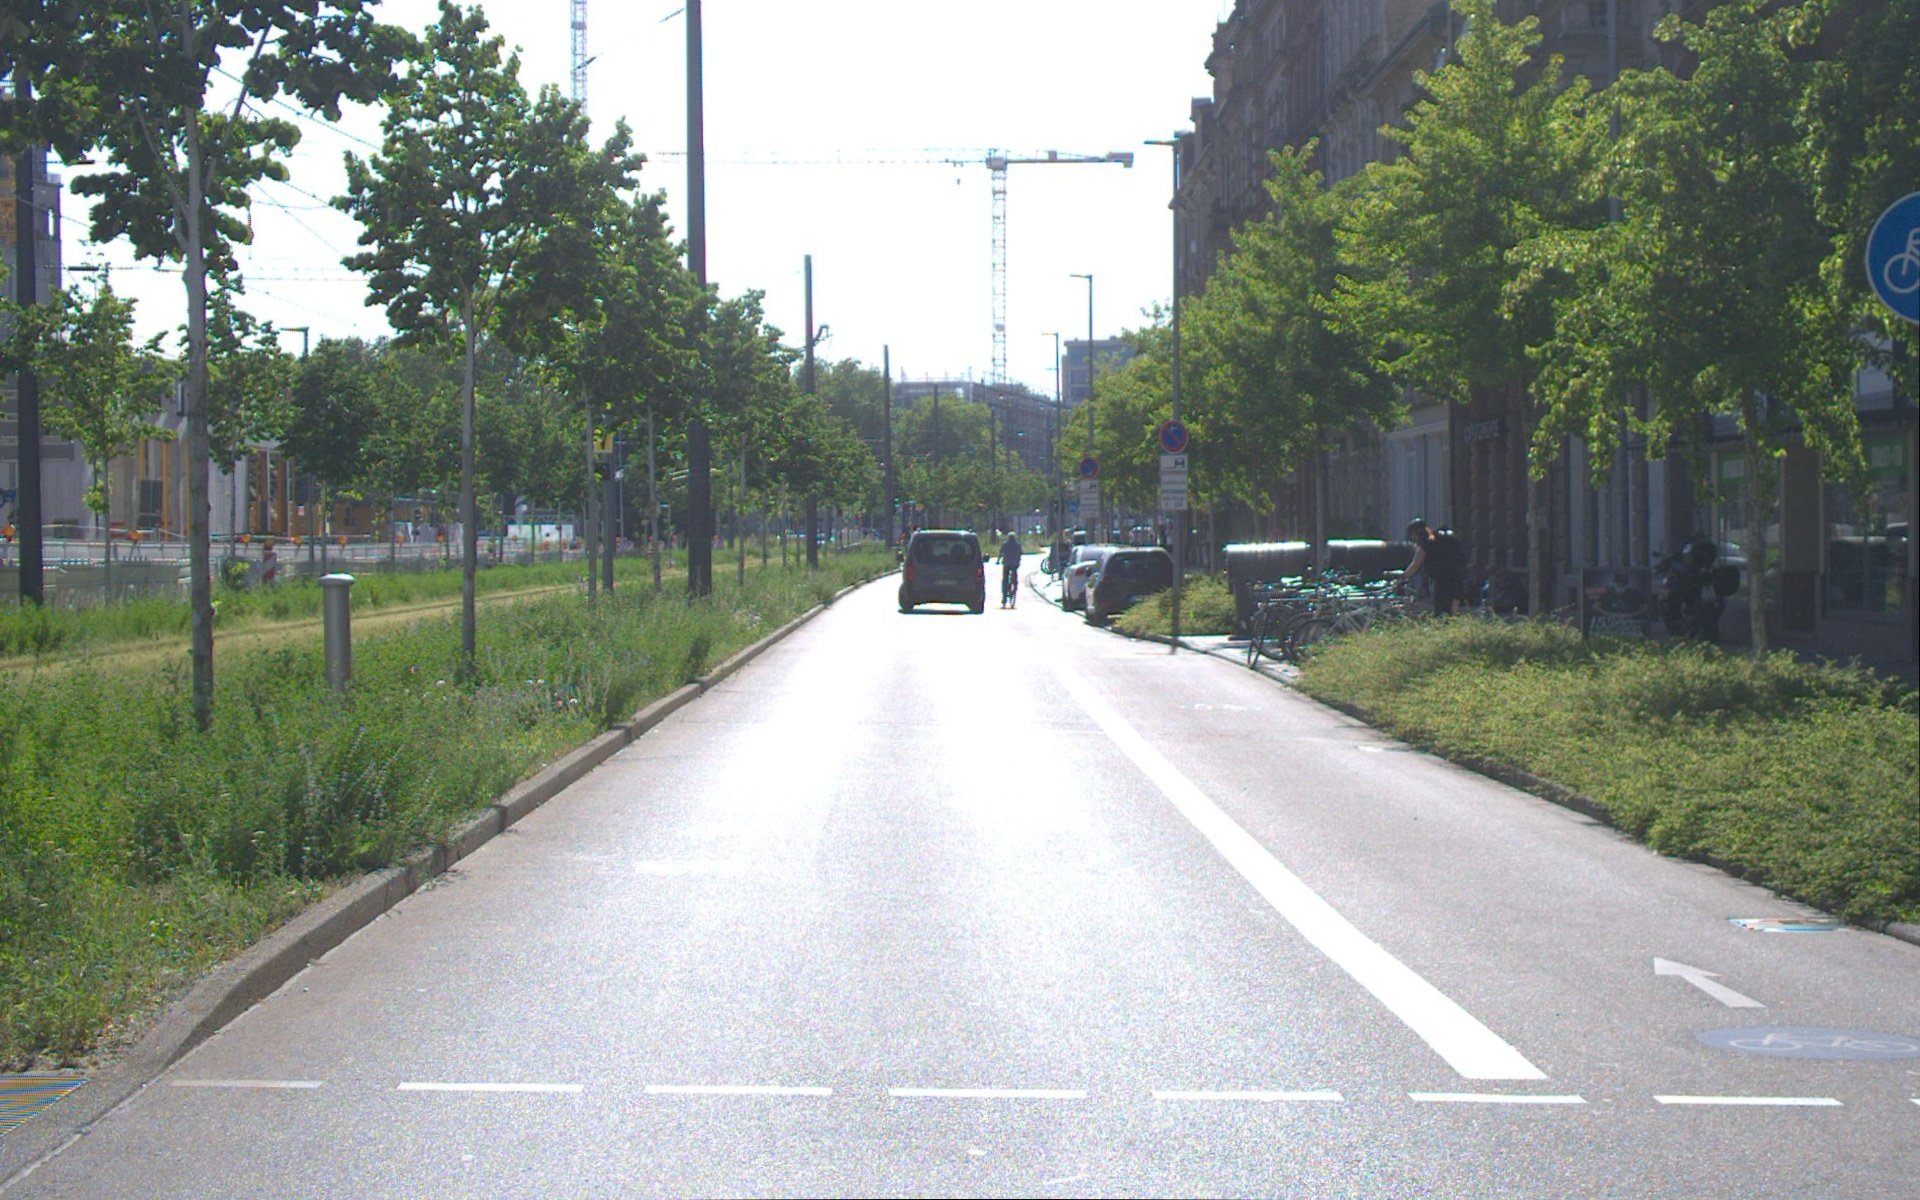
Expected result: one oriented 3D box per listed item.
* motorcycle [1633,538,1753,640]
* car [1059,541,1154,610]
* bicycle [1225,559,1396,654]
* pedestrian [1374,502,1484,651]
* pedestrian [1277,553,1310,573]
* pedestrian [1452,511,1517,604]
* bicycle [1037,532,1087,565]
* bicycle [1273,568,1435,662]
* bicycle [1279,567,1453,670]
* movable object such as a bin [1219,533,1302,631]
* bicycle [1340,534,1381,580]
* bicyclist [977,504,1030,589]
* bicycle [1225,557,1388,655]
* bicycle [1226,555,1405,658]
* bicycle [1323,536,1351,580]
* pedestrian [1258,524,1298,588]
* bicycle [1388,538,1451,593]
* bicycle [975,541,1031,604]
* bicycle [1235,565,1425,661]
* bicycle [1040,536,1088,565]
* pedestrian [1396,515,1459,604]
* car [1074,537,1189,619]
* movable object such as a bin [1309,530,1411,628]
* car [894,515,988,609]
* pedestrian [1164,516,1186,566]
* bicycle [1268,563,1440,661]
[{"bbox_3d":[9.440,-0.148,44.377,0.866,1.262,2.982,1,1,-1],"label":"motorcycle"},{"bbox_3d":[3.382,-0.601,80.273,1.951,1.490,5.105,-2,1,0],"label":"car"},{"bbox_3d":[4.486,0.077,44.035,2.043,1.103,0.611,-3,1,-6],"label":"bicycle"},{"bbox_3d":[5.645,-0.281,41.391,0.846,1.730,0.902,-4,1,-27],"label":"pedestrian"},{"bbox_3d":[9.781,-1.087,100.853,0.773,0.551,2.008,-1,2,0],"label":"pedestrian"},{"bbox_3d":[9.426,-0.772,61.817,0.971,1.633,0.992,-1,2,0],"label":"pedestrian"},{"bbox_3d":[4.085,-2.045,137.630,1.878,1.229,0.500,-3,1,-5],"label":"bicycle"},{"bbox_3d":[4.706,0.177,41.099,1.814,1.052,0.572,-2,1,-6],"label":"bicycle"},{"bbox_3d":[4.675,0.206,39.626,1.891,1.105,0.518,-2,1,-5],"label":"bicycle"},{"bbox_3d":[4.774,-0.302,54.687,1.271,1.458,1.644,1,3,4],"label":"movable object such as a bin"},{"bbox_3d":[9.783,-1.053,84.024,0.721,1.086,2.198,-1,1,0],"label":"bicycle"},{"bbox_3d":[1.040,-1.275,82.382,1.210,2.008,1.642,1,0,-1],"label":"bicyclist"},{"bbox_3d":[4.477,0.075,44.443,1.974,1.120,0.482,-4,2,-5],"label":"bicycle"},{"bbox_3d":[4.444,0.071,42.951,2.146,1.150,0.429,-4,1,-13],"label":"bicycle"},{"bbox_3d":[9.684,-1.084,88.384,0.481,1.086,2.057,-1,1,0],"label":"bicycle"},{"bbox_3d":[8.687,-1.192,93.941,0.996,1.725,0.866,1,0,0],"label":"pedestrian"},{"bbox_3d":[9.735,-0.739,72.892,0.875,1.101,2.182,-3,1,-3],"label":"bicycle"},{"bbox_3d":[1.012,-0.666,82.400,1.210,1.459,4.000,1,1,-1],"label":"bicycle"},{"bbox_3d":[4.588,0.154,42.608,2.284,1.098,0.486,-2,1,-14],"label":"bicycle"},{"bbox_3d":[4.211,-1.997,139.165,1.824,1.075,0.665,-3,1,-6],"label":"bicycle"},{"bbox_3d":[8.403,-0.736,61.788,0.950,1.561,1.080,-1,2,-1],"label":"pedestrian"},{"bbox_3d":[3.338,-0.437,67.566,1.765,1.472,4.449,-3,1,-3],"label":"car"},{"bbox_3d":[6.370,-0.338,54.859,1.373,1.490,1.749,-3,0,1],"label":"movable object such as a bin"},{"bbox_3d":[-0.430,-0.834,76.184,1.993,2.007,4.000,1,1,-1],"label":"car"},{"bbox_3d":[8.763,-2.393,139.972,0.817,2.007,1.046,1,-1,0],"label":"pedestrian"},{"bbox_3d":[4.746,0.140,41.442,1.977,1.104,0.435,-2,1,-3],"label":"bicycle"}]
